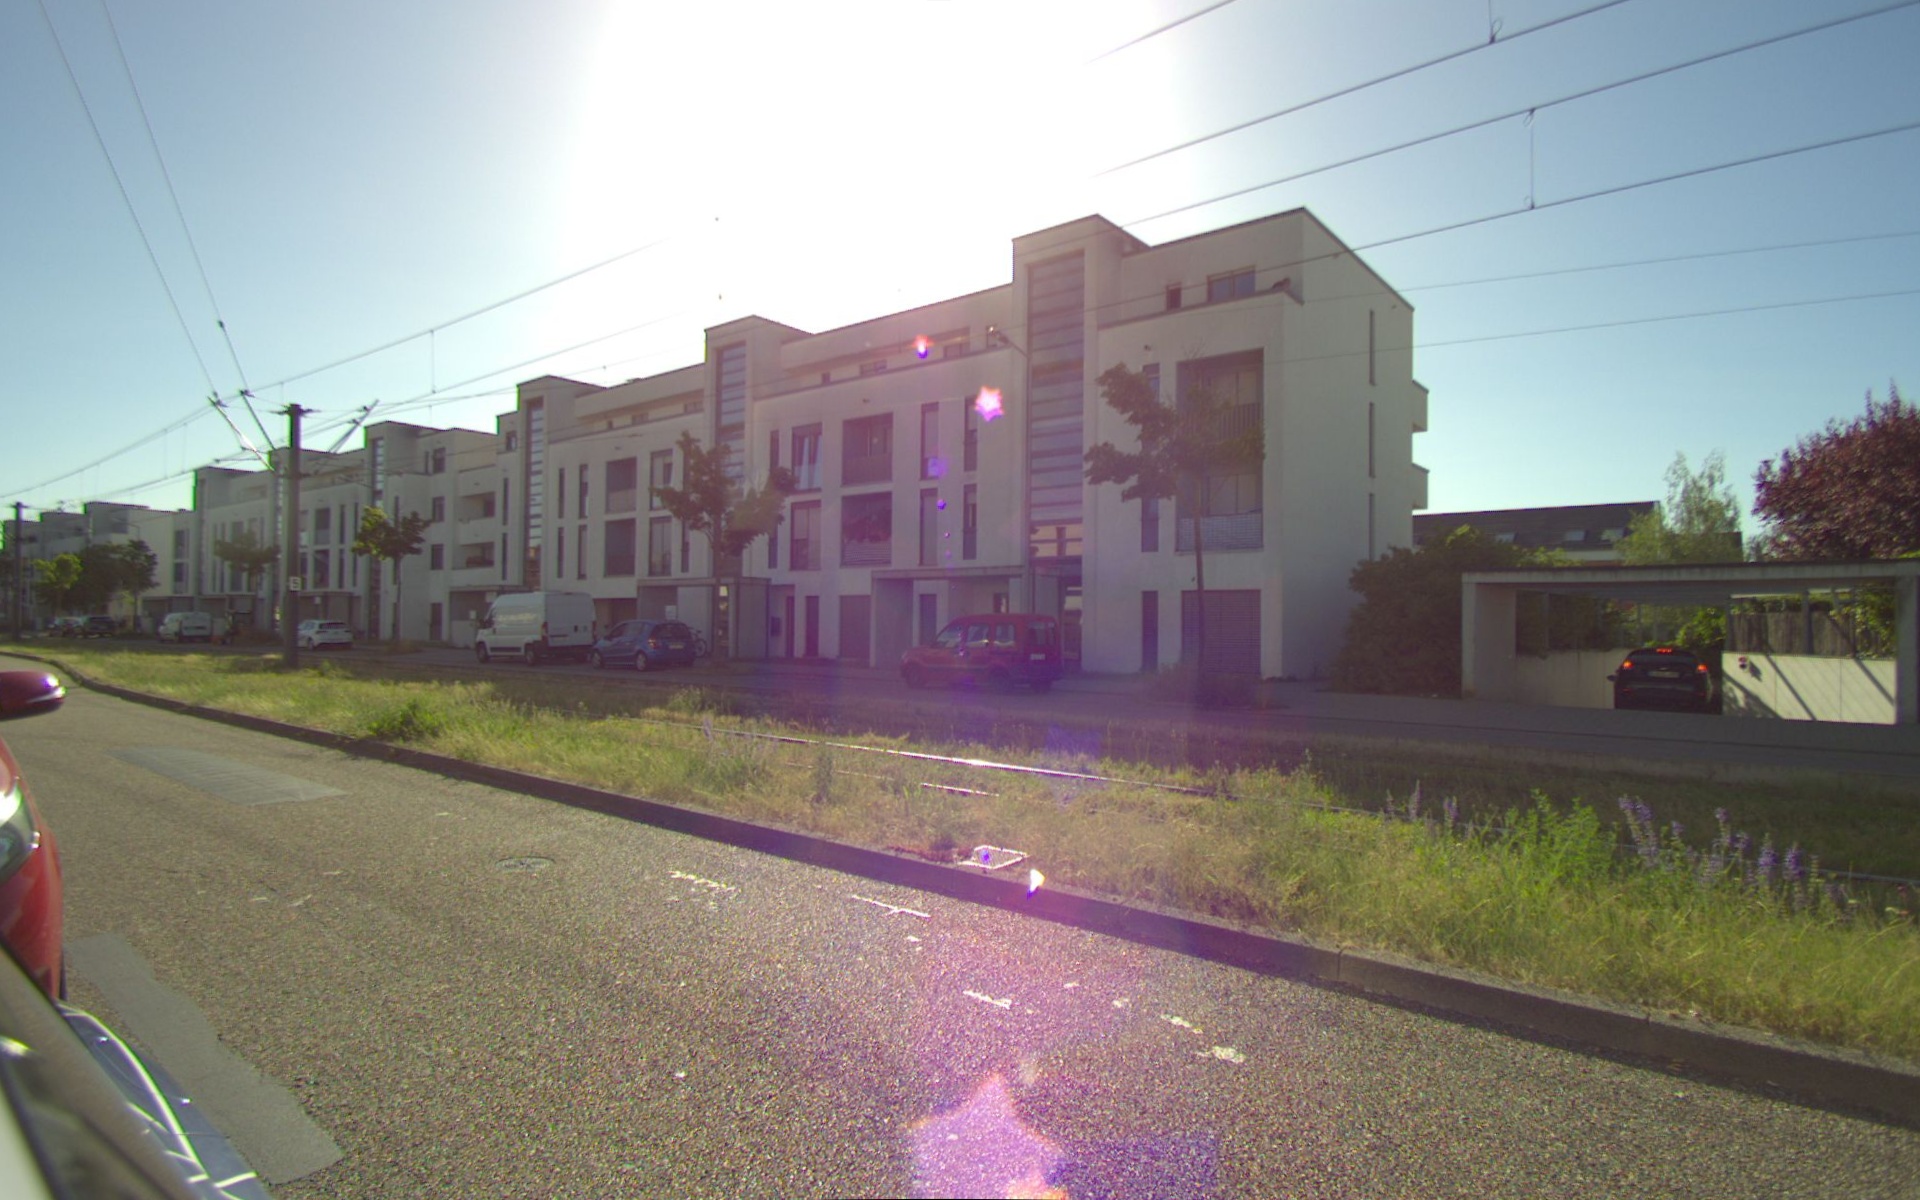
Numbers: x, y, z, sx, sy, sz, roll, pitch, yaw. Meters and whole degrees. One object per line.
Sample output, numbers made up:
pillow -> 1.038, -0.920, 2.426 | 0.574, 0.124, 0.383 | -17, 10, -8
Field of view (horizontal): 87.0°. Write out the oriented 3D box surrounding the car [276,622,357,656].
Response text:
car -> -31.120, 1.844, 48.888 | 4.277, 1.517, 1.900 | -1, 0, 37

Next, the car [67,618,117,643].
car -> -62.961, 2.170, 73.394 | 4.277, 1.693, 1.900 | -1, 0, 37

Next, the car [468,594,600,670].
car -> -15.179, 1.080, 35.934 | 5.193, 2.491, 2.197 | -1, 0, 40

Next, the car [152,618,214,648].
car -> -47.340, 1.967, 61.614 | 4.277, 1.693, 1.900 | -1, 0, 37

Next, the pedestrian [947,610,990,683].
pedestrian -> 0.221, 1.170, 25.863 | 0.785, 1.836, 0.766 | -1, 0, 41

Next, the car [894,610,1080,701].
car -> 0.554, 1.173, 23.008 | 3.895, 1.842, 1.972 | -1, 0, 43

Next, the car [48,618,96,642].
car -> -67.506, 2.261, 76.918 | 4.277, 1.693, 1.900 | -1, 0, 37

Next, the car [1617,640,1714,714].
car -> 15.208, 1.701, 21.743 | 1.574, 1.337, 3.950 | -1, -7, 37

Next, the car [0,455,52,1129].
car -> -4.887, 0.558, 3.670 | 4.505, 1.868, 1.850 | -1, 0, 41

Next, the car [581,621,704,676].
car -> -9.984, 1.453, 31.729 | 3.833, 1.556, 1.973 | -1, 0, 40
